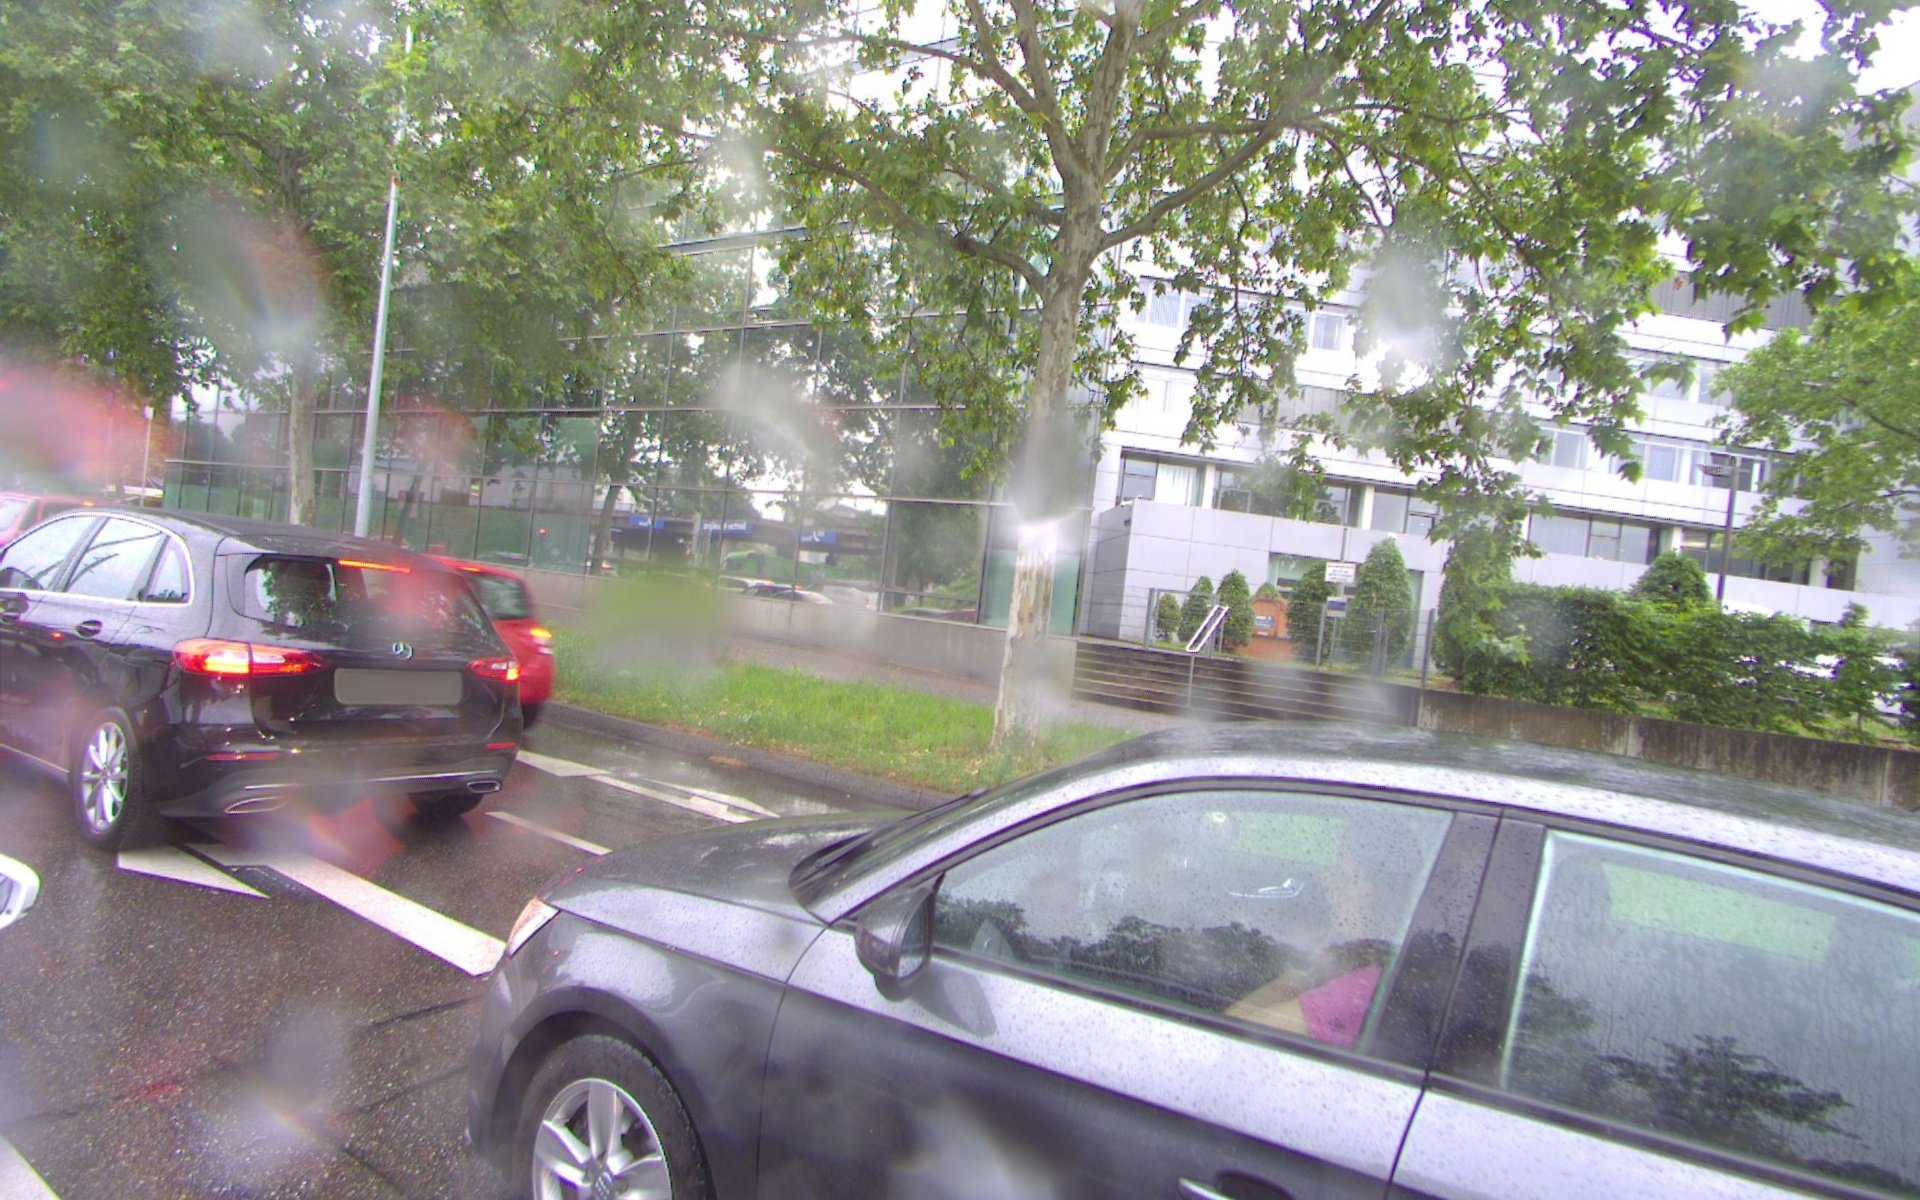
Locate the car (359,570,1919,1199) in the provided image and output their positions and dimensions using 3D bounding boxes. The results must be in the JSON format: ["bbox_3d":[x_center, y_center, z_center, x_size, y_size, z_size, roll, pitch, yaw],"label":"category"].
[{"bbox_3d":[0.666,0.908,2.119,3.718,1.445,1.679,7,-1,31],"label":"car"}]

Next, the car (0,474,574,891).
[{"bbox_3d":[-4.344,0.242,5.753,4.022,1.573,1.751,7,-1,31],"label":"car"}]

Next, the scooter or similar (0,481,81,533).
[{"bbox_3d":[-54.529,-5.518,58.140,5.228,2.476,1.893,7,0,-9],"label":"scooter or similar"}]

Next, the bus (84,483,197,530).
[{"bbox_3d":[-83.598,-9.466,103.022,2.439,3.465,11.997,7,0,-5],"label":"bus"}]

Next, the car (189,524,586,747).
[{"bbox_3d":[-5.243,0.276,9.154,3.332,1.480,1.572,7,-1,31],"label":"car"}]

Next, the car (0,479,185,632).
[{"bbox_3d":[-12.772,-0.682,13.945,4.201,1.714,1.714,6,-2,32],"label":"car"}]
